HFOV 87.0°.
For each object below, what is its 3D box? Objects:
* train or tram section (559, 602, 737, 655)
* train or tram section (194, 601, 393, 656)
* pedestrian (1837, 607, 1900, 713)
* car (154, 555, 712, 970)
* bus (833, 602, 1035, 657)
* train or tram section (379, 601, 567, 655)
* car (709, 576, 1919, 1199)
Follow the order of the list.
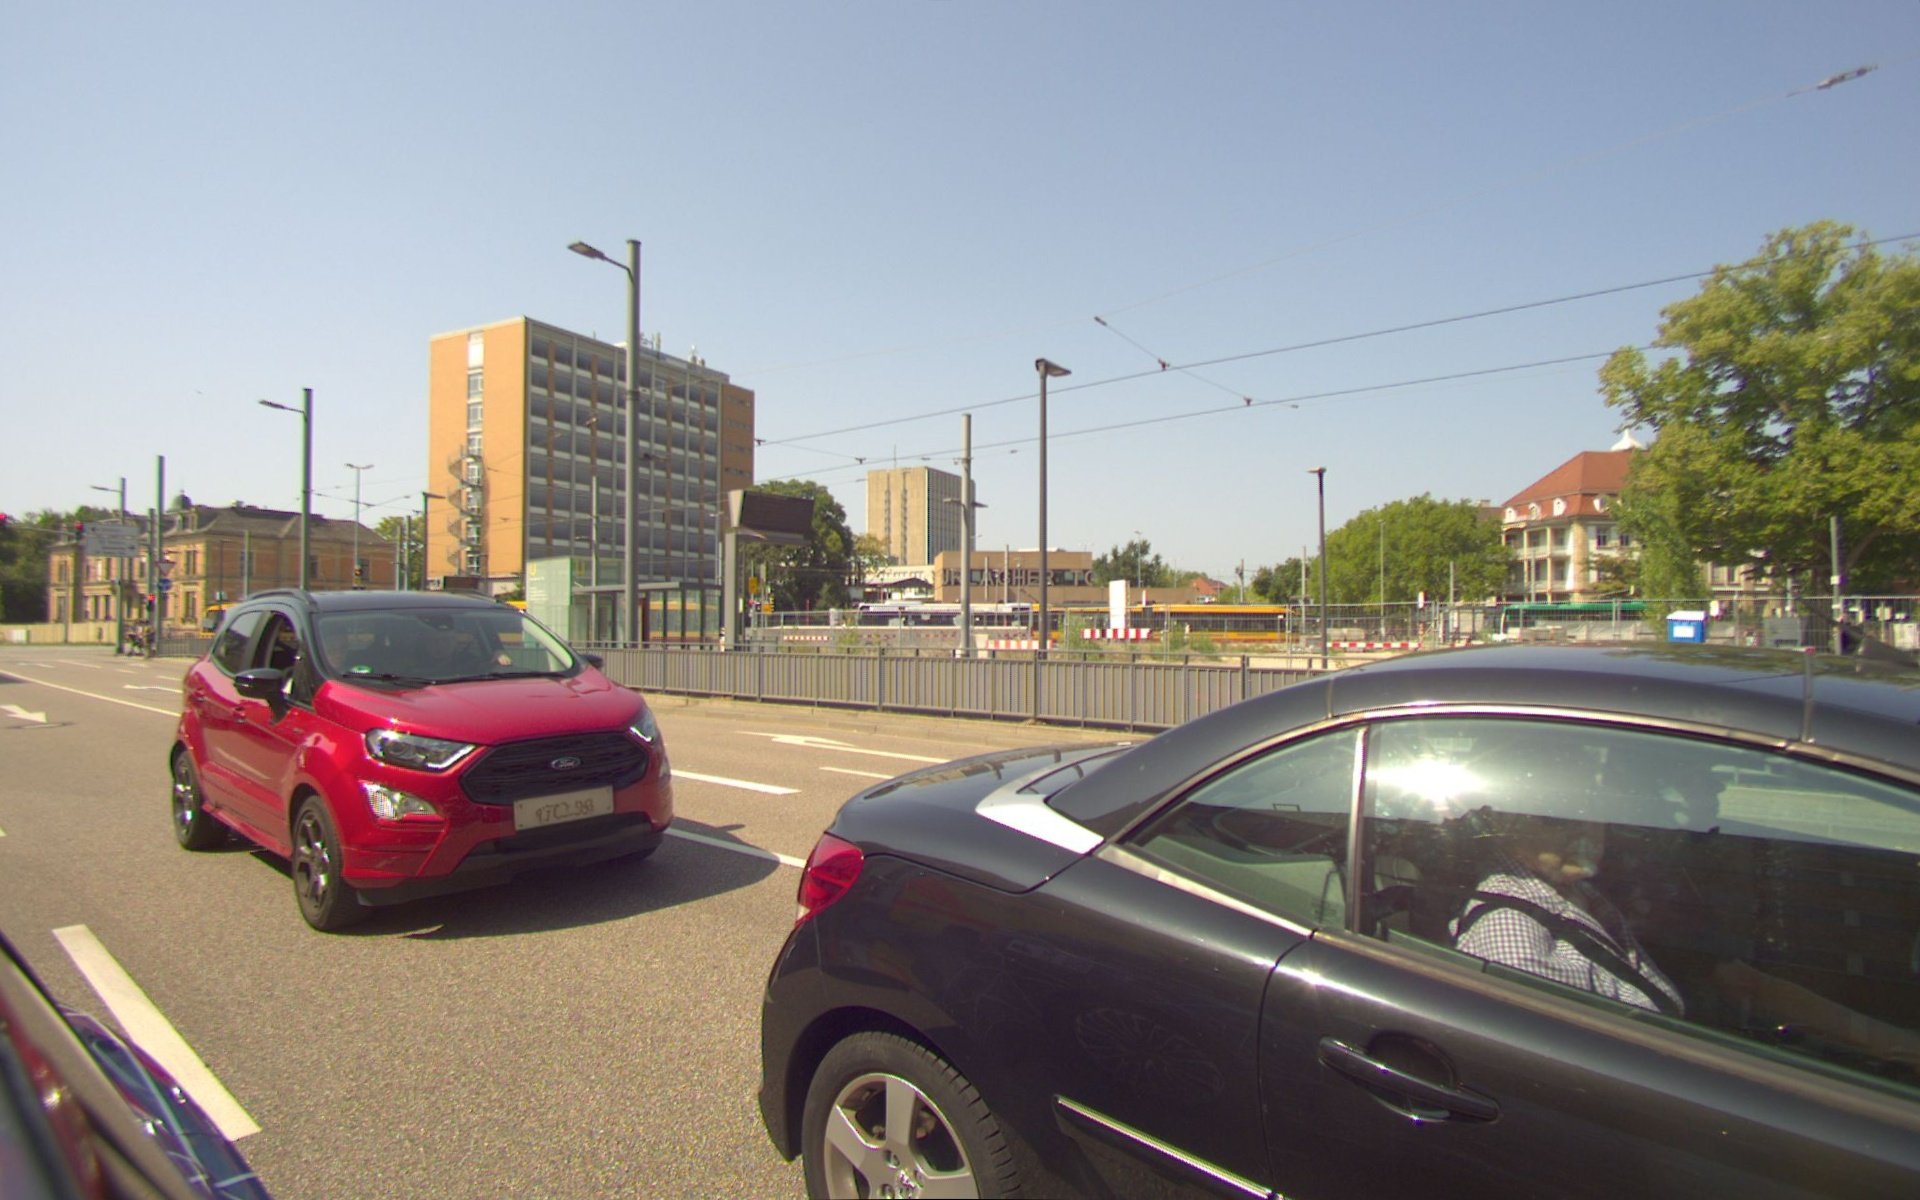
[{"bbox_3d":[-22.441,2.076,73.243,12.178,3.794,2.002,0,-2,-5],"label":"train or tram section"},{"bbox_3d":[-46.706,1.994,71.146,12.178,3.794,2.002,0,-2,-5],"label":"train or tram section"},{"bbox_3d":[15.934,1.044,17.769,0.761,1.801,0.736,-2,-3,41],"label":"pedestrian"},{"bbox_3d":[-3.288,0.673,5.925,3.966,1.633,1.613,-1,-1,42],"label":"car"},{"bbox_3d":[-1.817,1.953,68.077,13.203,3.319,3.355,-1,0,-5],"label":"bus"},{"bbox_3d":[-34.589,2.011,72.195,12.178,3.794,2.002,0,-2,-5],"label":"train or tram section"},{"bbox_3d":[1.438,0.691,1.606,3.799,1.424,1.671,-1,-1,40],"label":"car"}]
